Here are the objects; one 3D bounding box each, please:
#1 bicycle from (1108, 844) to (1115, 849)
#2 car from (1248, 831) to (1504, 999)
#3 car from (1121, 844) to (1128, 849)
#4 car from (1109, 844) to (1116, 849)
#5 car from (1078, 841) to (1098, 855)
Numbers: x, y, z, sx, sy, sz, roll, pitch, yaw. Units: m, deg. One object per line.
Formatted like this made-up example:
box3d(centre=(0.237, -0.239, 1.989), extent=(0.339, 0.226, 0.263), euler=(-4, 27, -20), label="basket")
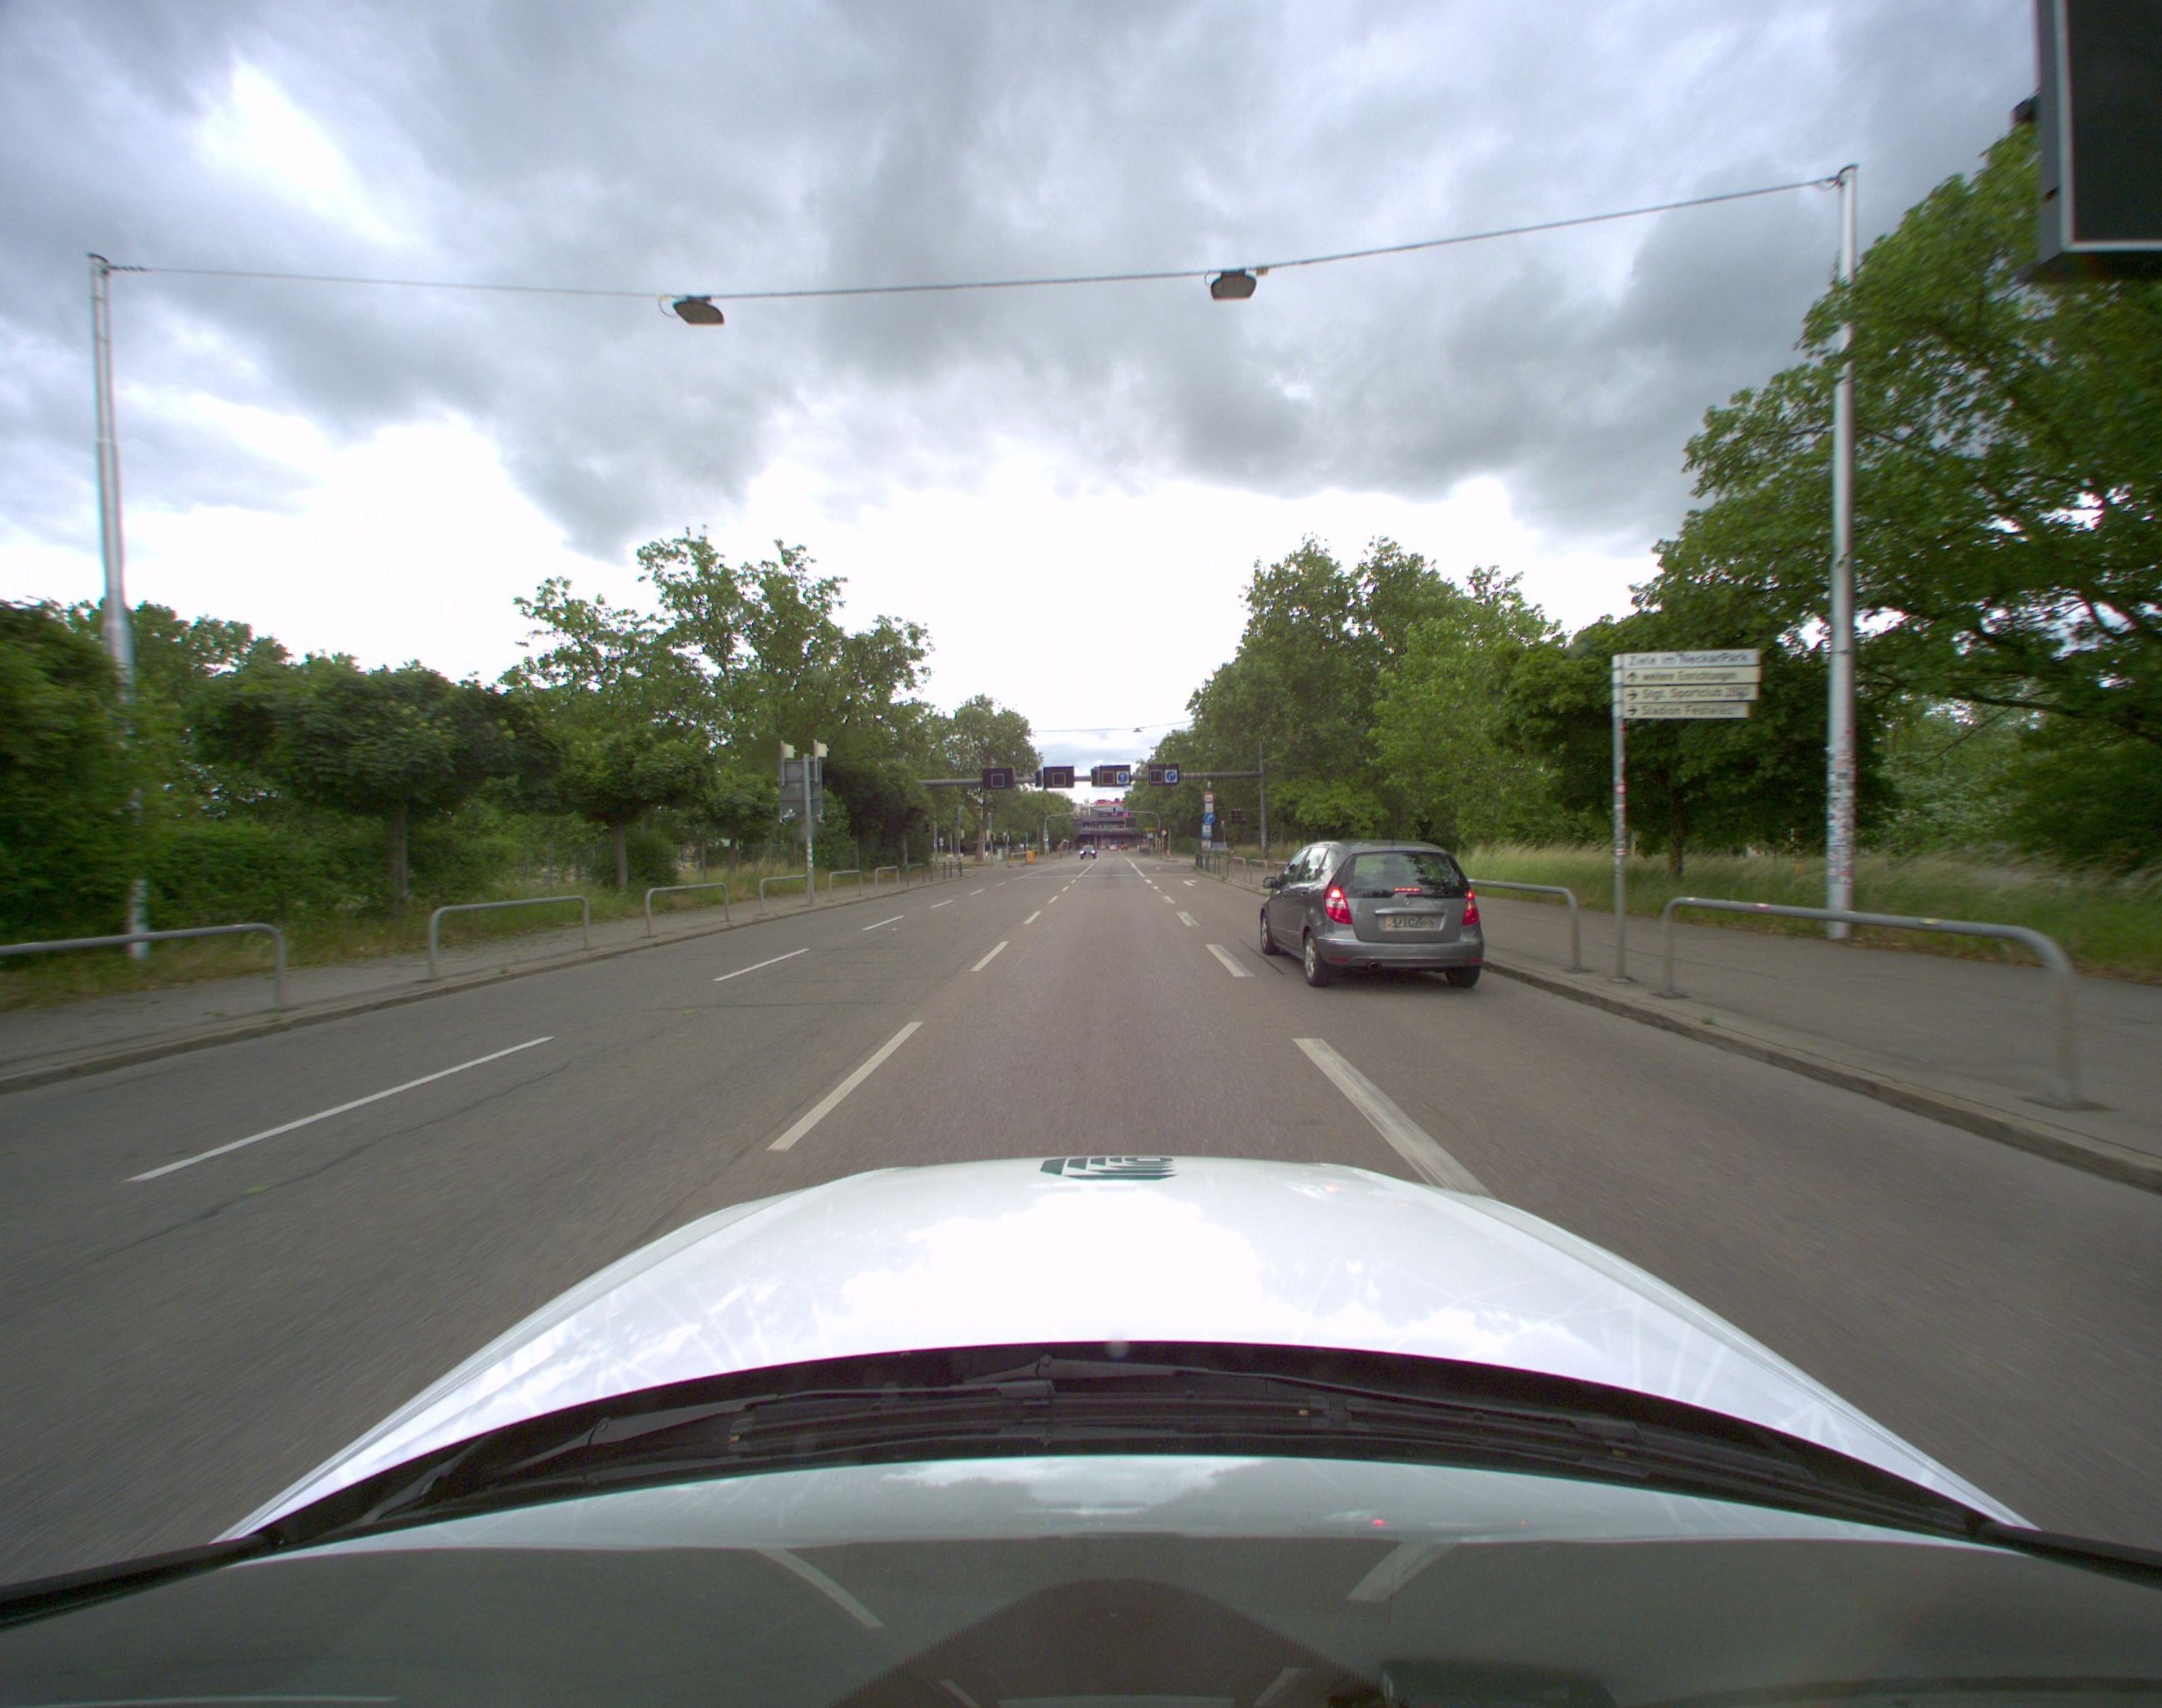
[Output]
box3d(centre=(8.835, -2.173, 234.981), extent=(1.986, 1.508, 4.002), euler=(-1, 0, 1), label="bicycle")
box3d(centre=(3.297, 0.561, 9.984), extent=(1.819, 1.616, 4.037), euler=(-1, 1, 2), label="car")
box3d(centre=(13.240, -2.308, 249.139), extent=(1.999, 1.698, 4.073), euler=(-1, 0, 3), label="car")
box3d(centre=(8.820, -2.107, 225.344), extent=(1.771, 1.460, 3.825), euler=(0, 0, 3), label="car")
box3d(centre=(0.889, -0.730, 101.406), extent=(1.984, 1.660, 4.524), euler=(-3, 0, 5), label="car")
